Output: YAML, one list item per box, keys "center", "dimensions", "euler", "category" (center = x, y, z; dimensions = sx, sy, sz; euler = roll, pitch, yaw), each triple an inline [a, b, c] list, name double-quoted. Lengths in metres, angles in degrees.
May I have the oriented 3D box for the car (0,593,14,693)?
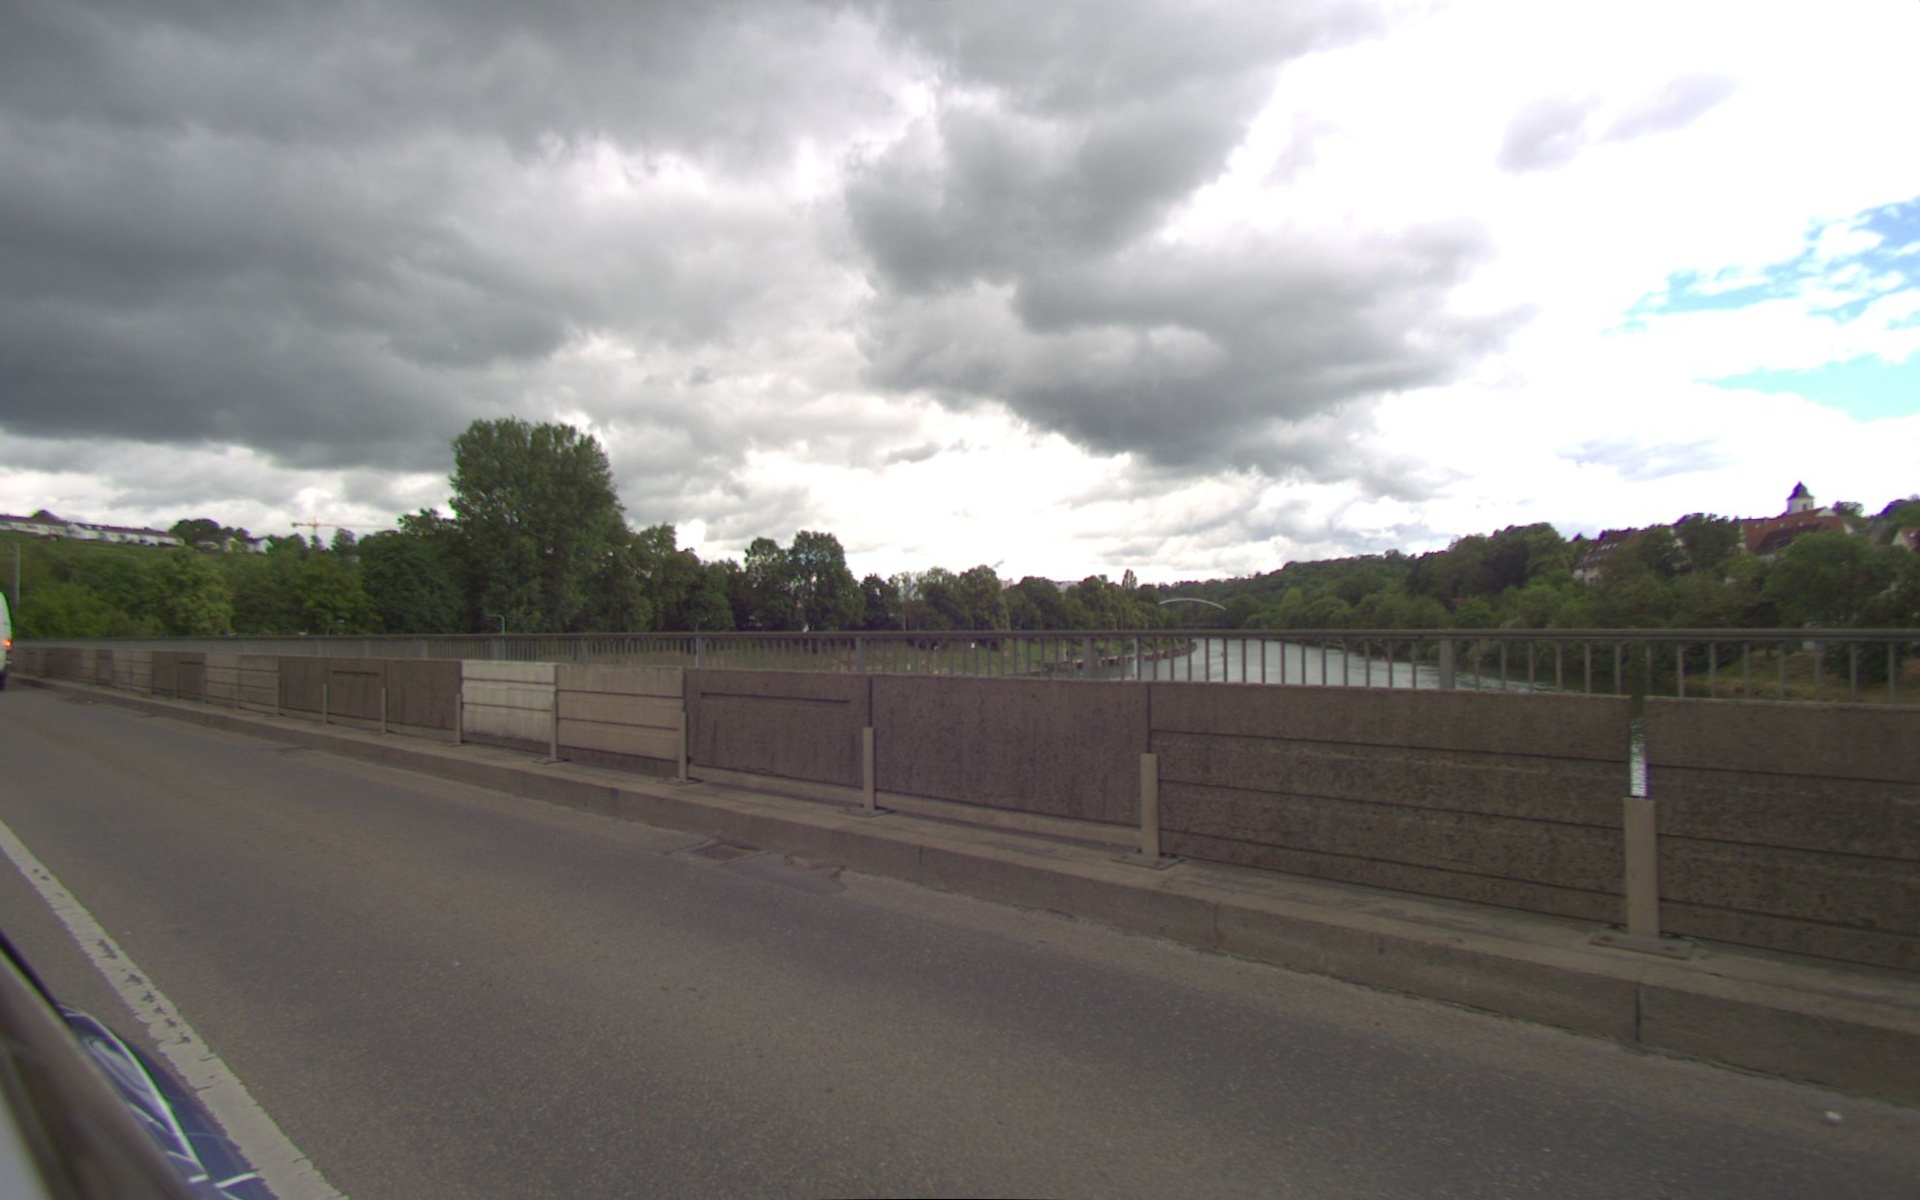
- center: [-27.861, 1.205, 27.773]
  dimensions: [7.004, 2.581, 2.012]
  euler: [-3, -4, 41]
  category: "car"
